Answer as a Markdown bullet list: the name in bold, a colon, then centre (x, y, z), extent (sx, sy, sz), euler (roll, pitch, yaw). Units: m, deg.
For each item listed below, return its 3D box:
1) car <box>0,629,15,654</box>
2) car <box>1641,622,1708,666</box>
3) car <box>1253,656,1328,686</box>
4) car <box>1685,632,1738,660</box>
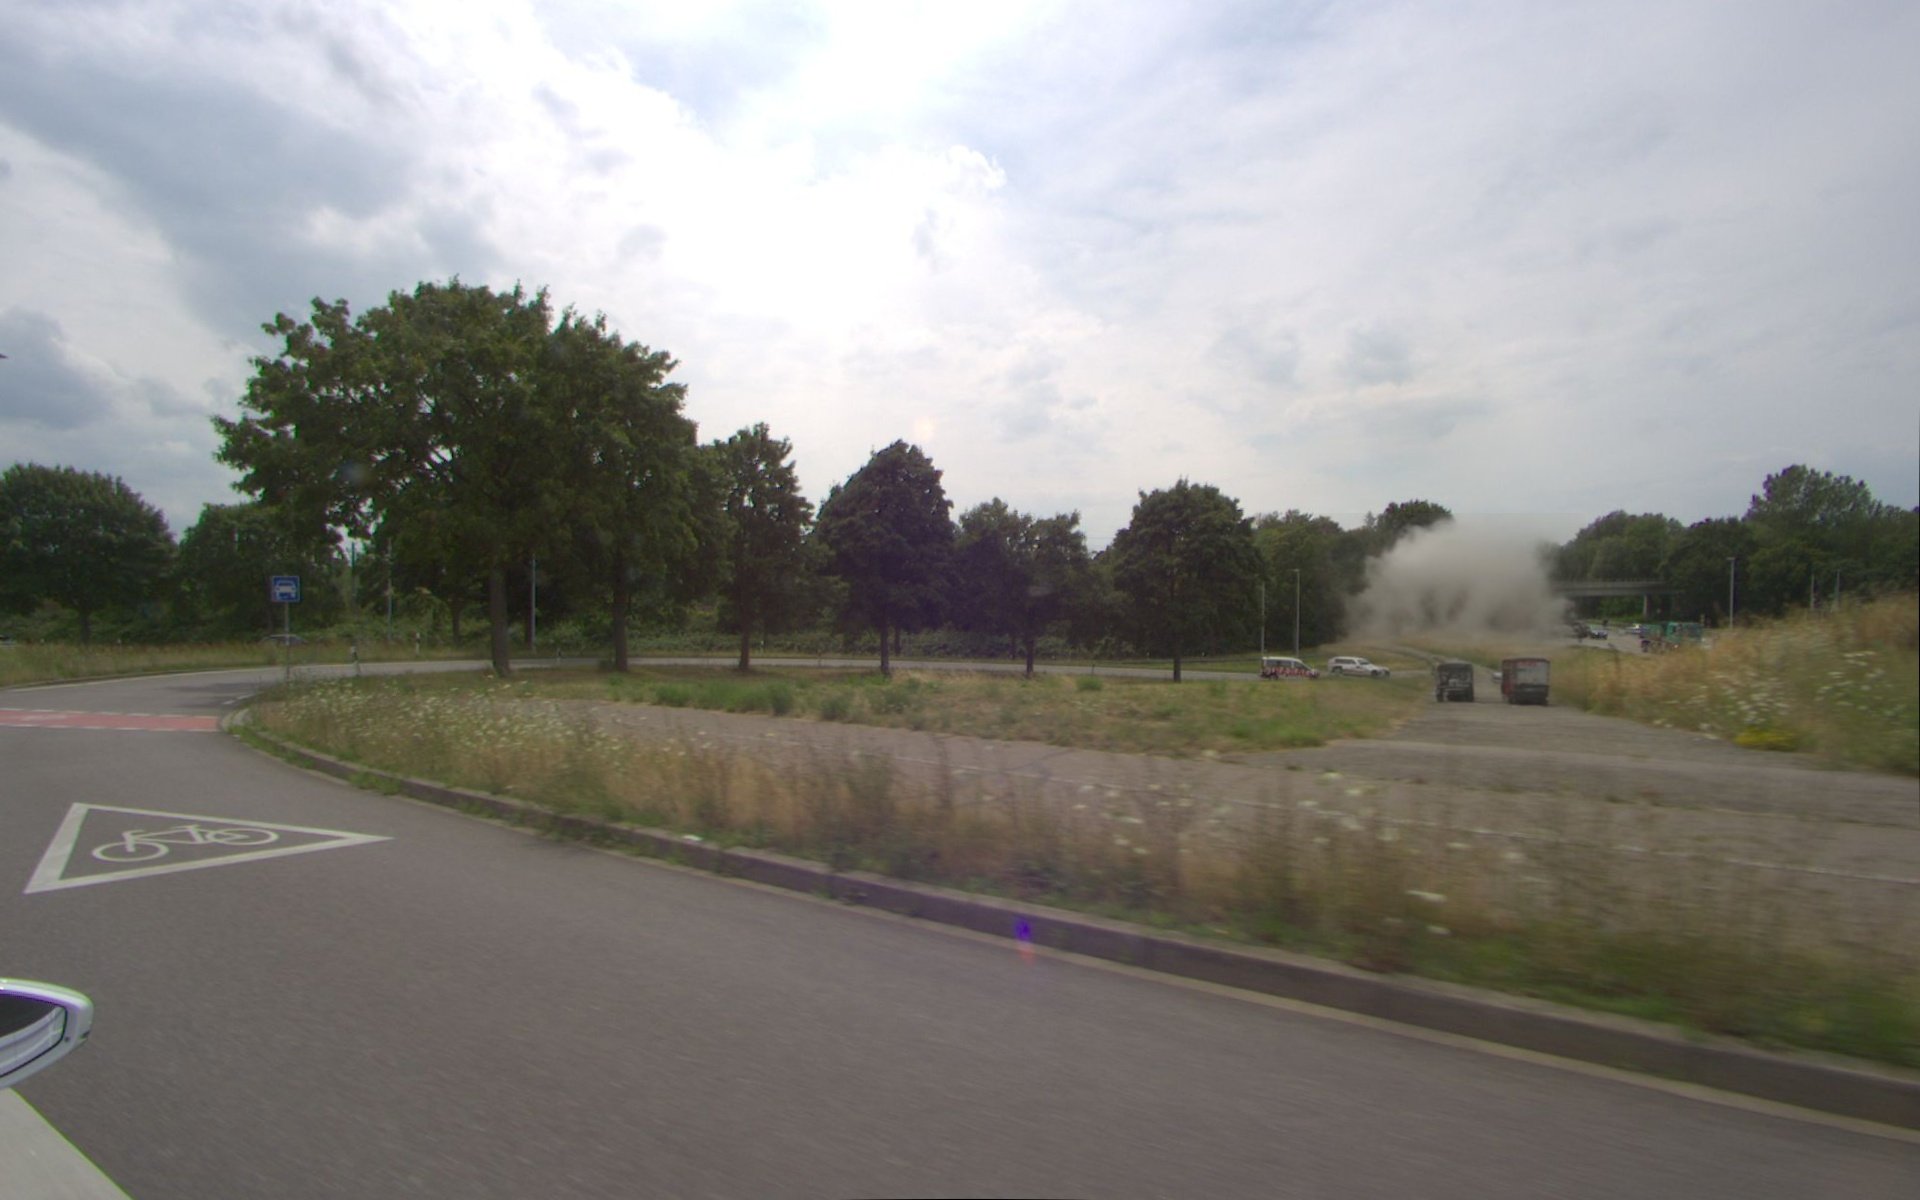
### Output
- **car**: centre (-61.118, 2.562, 61.593), extent (3.929, 1.483, 1.769), euler (0, 0, -16)
- **car**: centre (70.689, 4.255, 99.291), extent (3.285, 3.948, 7.498), euler (1, 0, 18)
- **car**: centre (24.699, 5.294, 74.914), extent (5.152, 2.040, 1.998), euler (0, 0, 14)
- **car**: centre (80.357, 4.906, 107.187), extent (2.513, 2.693, 6.083), euler (1, 0, 16)
